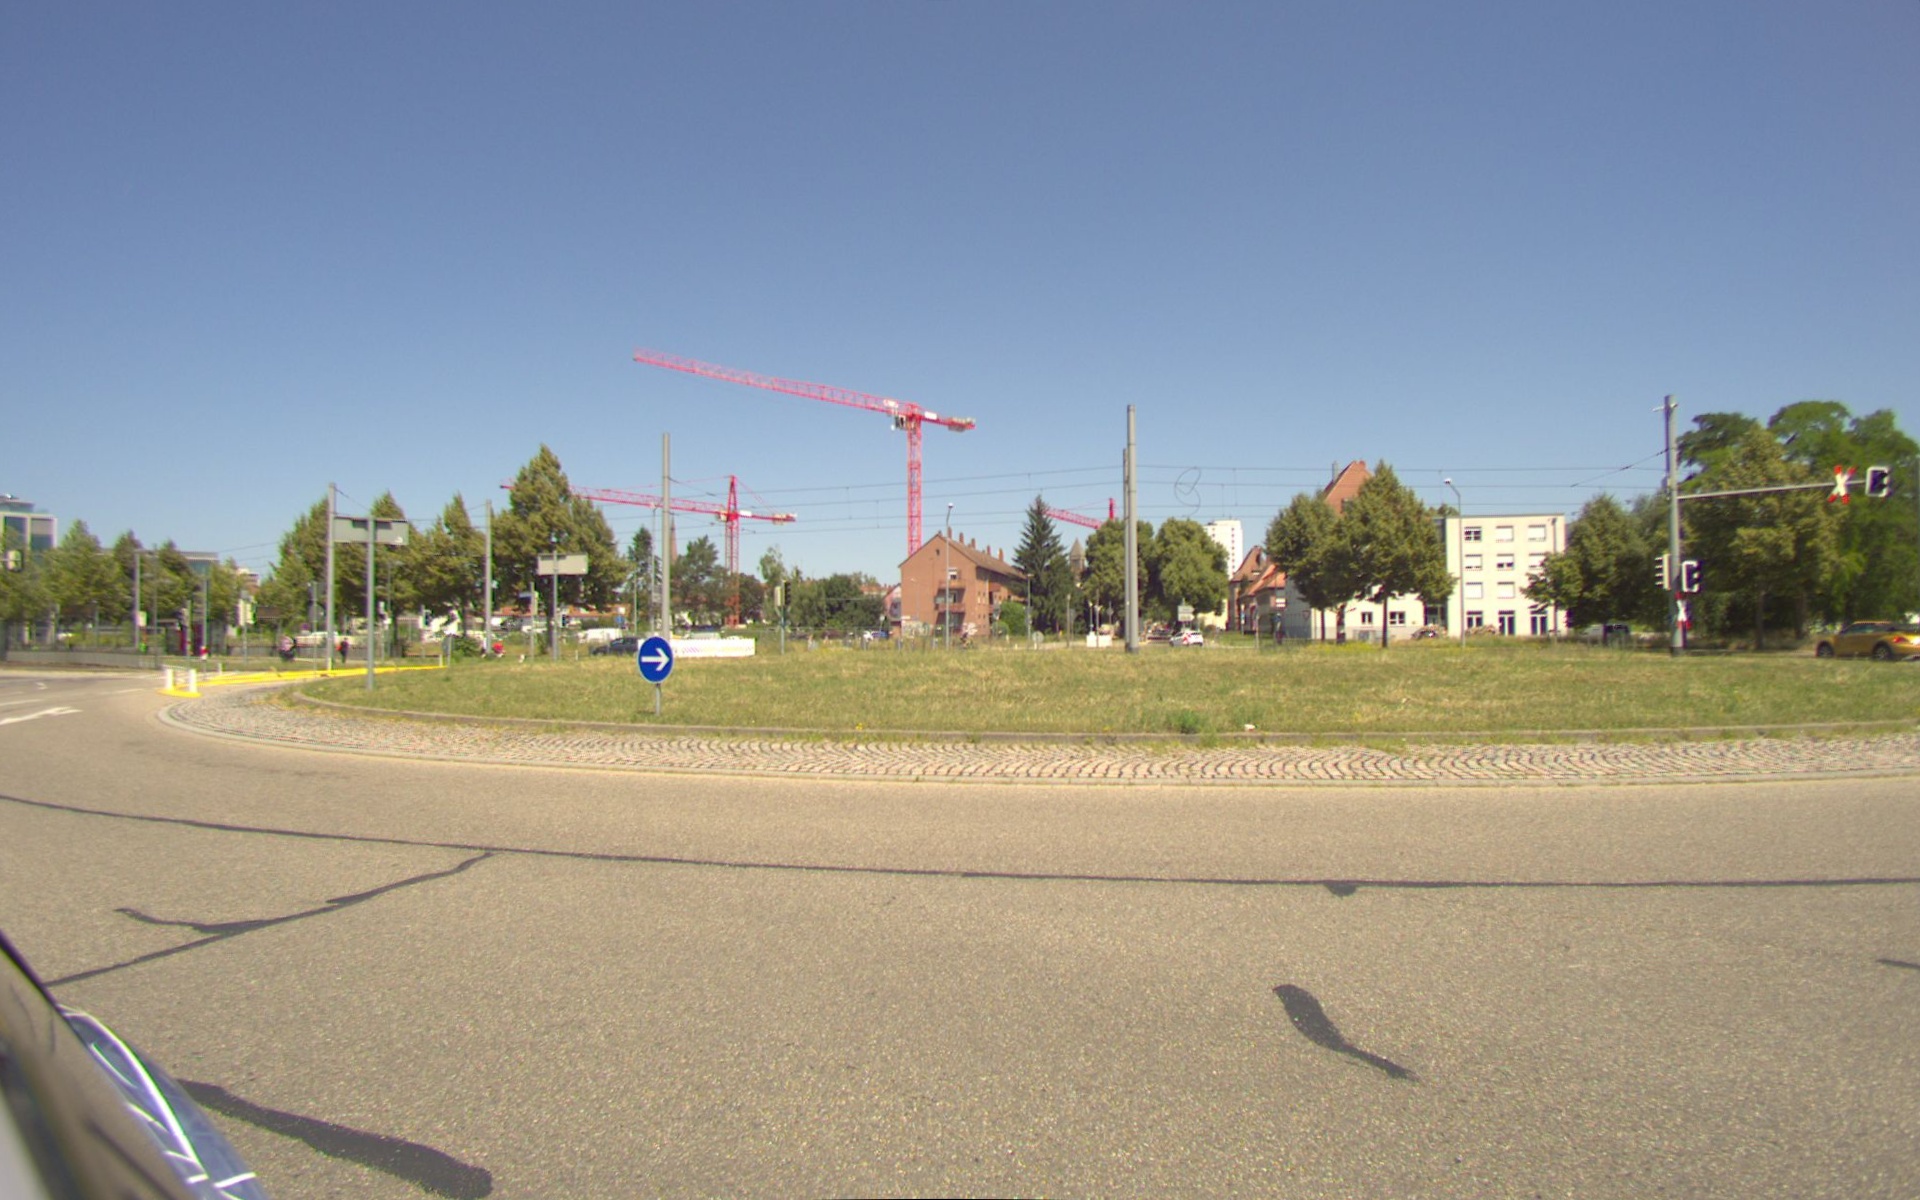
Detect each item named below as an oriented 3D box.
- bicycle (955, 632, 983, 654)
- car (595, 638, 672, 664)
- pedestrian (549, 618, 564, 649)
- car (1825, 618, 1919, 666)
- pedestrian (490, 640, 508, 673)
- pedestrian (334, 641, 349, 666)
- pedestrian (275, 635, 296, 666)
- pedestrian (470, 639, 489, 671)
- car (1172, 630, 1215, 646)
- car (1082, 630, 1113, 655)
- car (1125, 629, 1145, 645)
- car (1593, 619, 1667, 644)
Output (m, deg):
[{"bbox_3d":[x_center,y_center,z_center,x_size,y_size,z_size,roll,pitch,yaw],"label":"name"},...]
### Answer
[{"bbox_3d":[0.717,3.273,77.030,2.054,1.697,0.560,1,-2,-5],"label":"bicycle"},{"bbox_3d":[-19.654,3.053,61.001,3.944,1.475,1.999,1,-2,1],"label":"car"},{"bbox_3d":[-26.767,2.193,67.122,0.601,2.029,0.588,0,-2,31],"label":"pedestrian"},{"bbox_3d":[28.851,1.263,31.139,1.812,1.413,3.648,0,-1,11],"label":"car"},{"bbox_3d":[-28.968,3.540,63.586,0.732,2.029,0.736,-1,-2,43],"label":"pedestrian"},{"bbox_3d":[-35.218,3.028,57.618,0.588,1.417,0.544,1,-3,-44],"label":"pedestrian"},{"bbox_3d":[-37.123,2.766,55.691,0.781,1.652,0.750,-1,-2,43],"label":"pedestrian"},{"bbox_3d":[-29.811,3.411,62.806,0.732,1.913,0.803,-1,-2,43],"label":"pedestrian"},{"bbox_3d":[21.353,3.464,92.528,1.686,1.431,3.913,2,-2,-27],"label":"car"},{"bbox_3d":[12.024,3.673,88.165,1.983,2.029,3.976,0,-2,18],"label":"car"},{"bbox_3d":[22.284,4.665,128.494,1.983,2.029,3.976,0,-2,18],"label":"car"},{"bbox_3d":[48.060,2.228,72.688,3.968,1.697,1.987,0,-2,19],"label":"car"}]
